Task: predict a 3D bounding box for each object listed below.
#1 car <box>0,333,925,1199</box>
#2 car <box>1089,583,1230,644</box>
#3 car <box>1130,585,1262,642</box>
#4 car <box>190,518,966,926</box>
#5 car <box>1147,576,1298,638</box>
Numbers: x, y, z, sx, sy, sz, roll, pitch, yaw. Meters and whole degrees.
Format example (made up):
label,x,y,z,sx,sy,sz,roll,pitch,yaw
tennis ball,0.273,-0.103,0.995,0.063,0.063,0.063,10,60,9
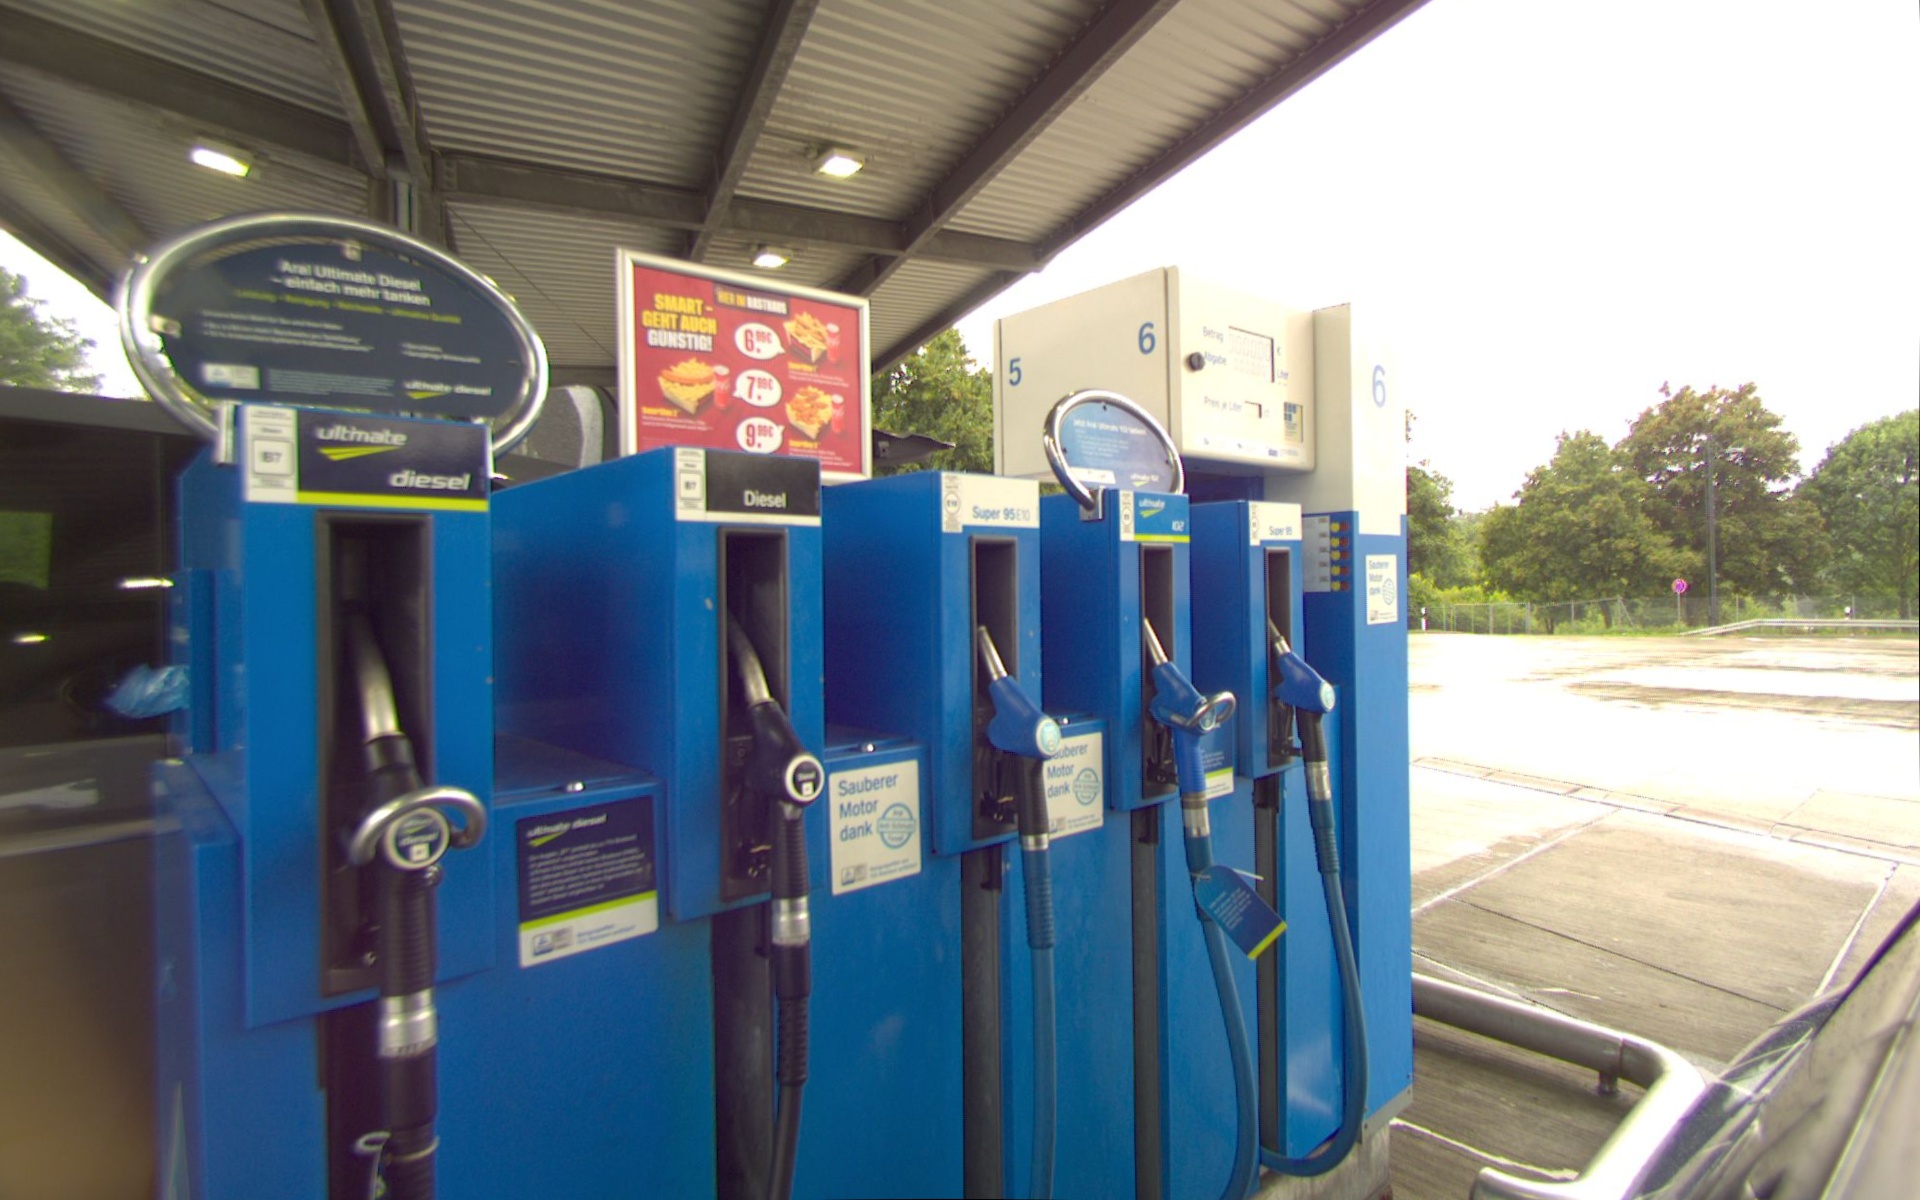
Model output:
label,x,y,z,sx,sy,sz,roll,pitch,yaw
car,-2.605,0.502,1.812,5.050,1.821,1.864,-1,0,-41
car,5.865,0.375,29.725,3.941,1.680,1.593,1,0,14
car,7.419,0.387,31.916,3.941,1.680,1.593,1,0,14
car,-2.241,0.519,6.699,4.460,1.821,1.864,-1,0,-41
car,8.881,0.208,34.499,4.817,1.974,2.306,1,1,14
